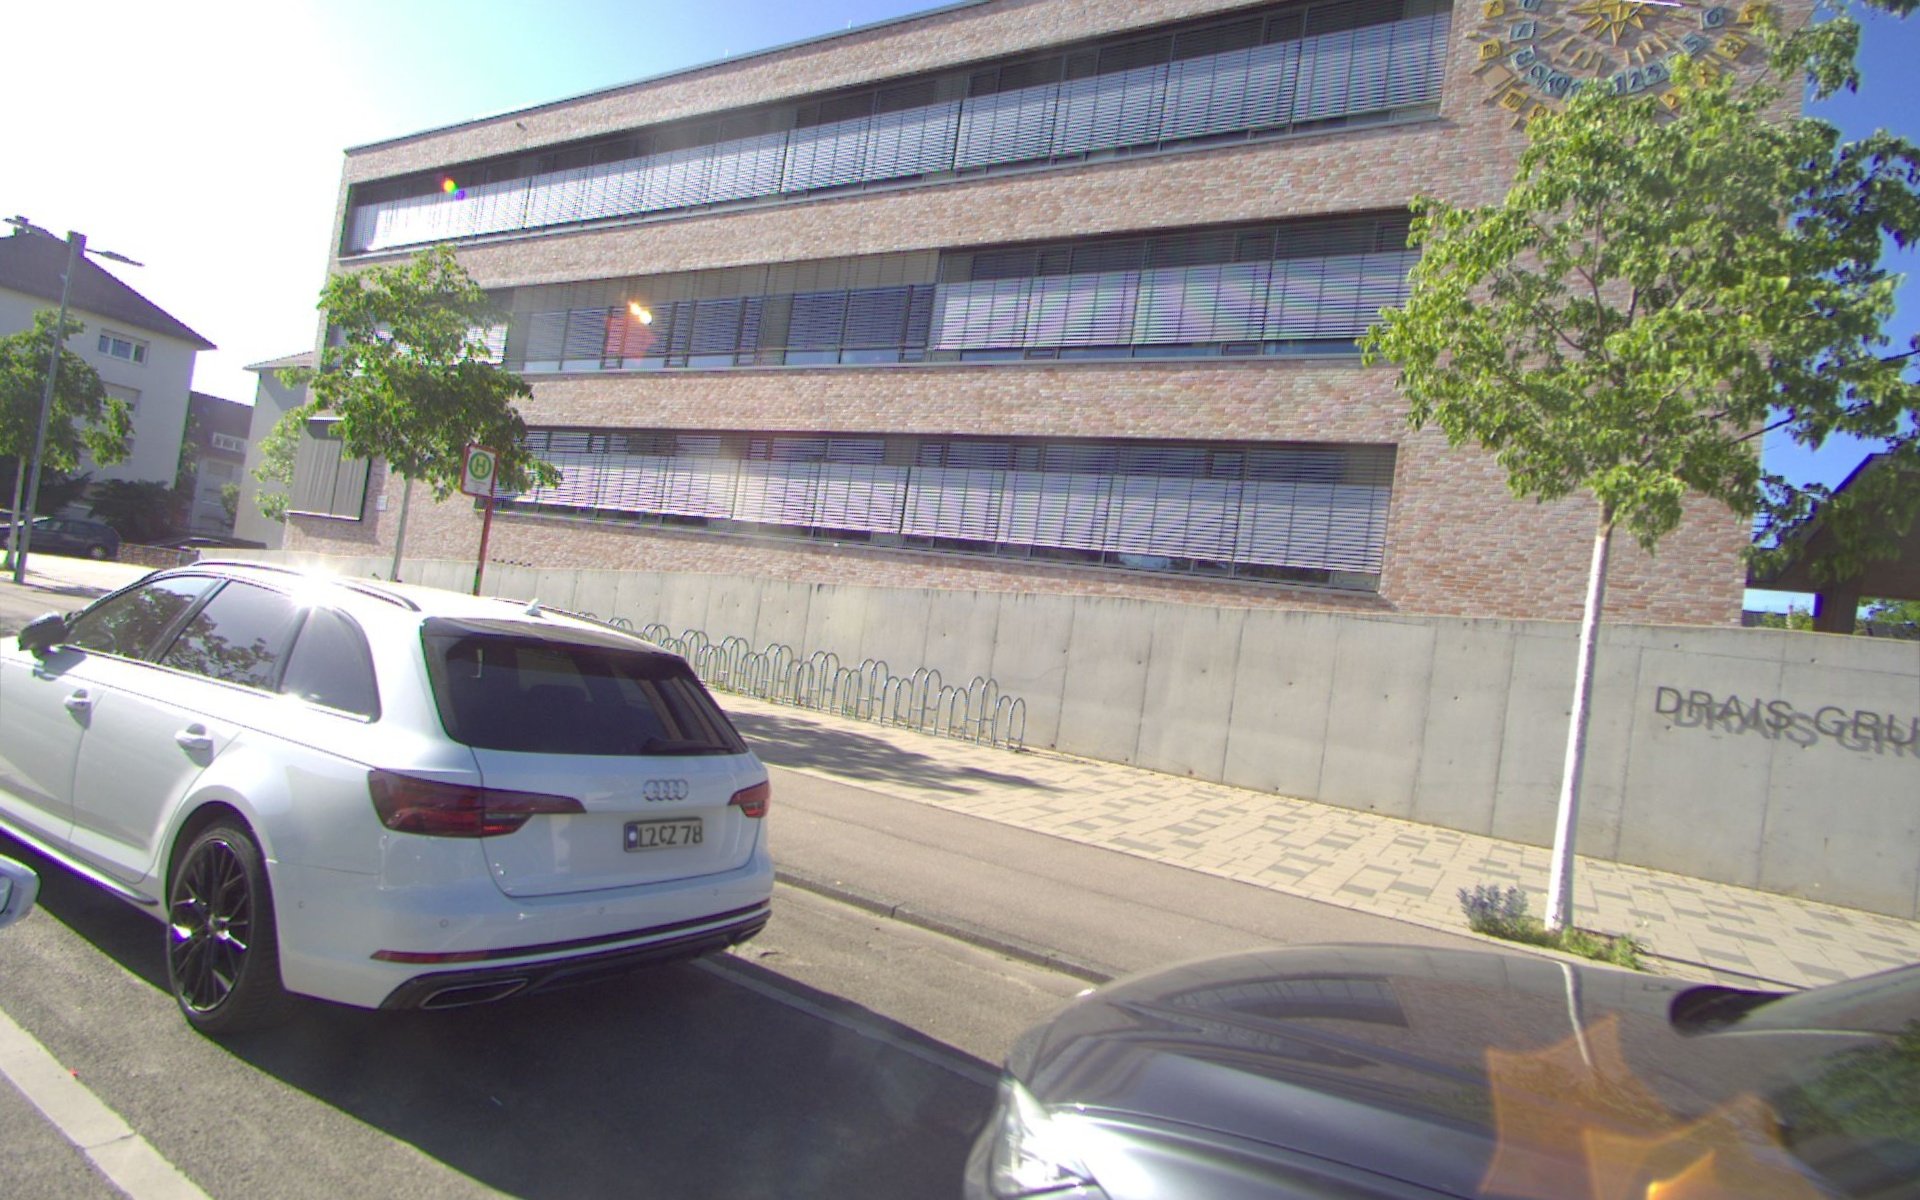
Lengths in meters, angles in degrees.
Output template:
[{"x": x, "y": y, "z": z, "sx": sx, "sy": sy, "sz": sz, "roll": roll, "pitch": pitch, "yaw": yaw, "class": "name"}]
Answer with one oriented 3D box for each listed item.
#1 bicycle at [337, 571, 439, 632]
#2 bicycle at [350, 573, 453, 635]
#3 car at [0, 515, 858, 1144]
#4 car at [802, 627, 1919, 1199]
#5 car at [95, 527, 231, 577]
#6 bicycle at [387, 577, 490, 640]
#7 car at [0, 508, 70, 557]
[{"x": -12.104, "y": 0.053, "z": 21.342, "sx": 0.491, "sy": 1.121, "sz": 1.798, "roll": 7, "pitch": -1, "yaw": 29, "class": "bicycle"}, {"x": -11.669, "y": 0.101, "z": 21.078, "sx": 0.491, "sy": 1.121, "sz": 1.798, "roll": 7, "pitch": -1, "yaw": 29, "class": "bicycle"}, {"x": -2.902, "y": 0.542, "z": 4.494, "sx": 4.580, "sy": 1.436, "sz": 1.799, "roll": 6, "pitch": -3, "yaw": 31, "class": "car"}, {"x": 2.193, "y": 1.080, "z": 1.354, "sx": 4.559, "sy": 1.436, "sz": 1.998, "roll": 6, "pitch": -3, "yaw": 32, "class": "car"}, {"x": -36.757, "y": -2.176, "z": 46.531, "sx": 1.769, "sy": 1.556, "sz": 4.494, "roll": 5, "pitch": -4, "yaw": 29, "class": "car"}, {"x": -10.646, "y": 0.190, "z": 20.604, "sx": 0.491, "sy": 1.121, "sz": 1.798, "roll": 7, "pitch": -1, "yaw": 29, "class": "bicycle"}, {"x": -39.469, "y": -2.945, "z": 40.891, "sx": 1.769, "sy": 1.639, "sz": 4.494, "roll": 5, "pitch": -4, "yaw": 29, "class": "car"}]
